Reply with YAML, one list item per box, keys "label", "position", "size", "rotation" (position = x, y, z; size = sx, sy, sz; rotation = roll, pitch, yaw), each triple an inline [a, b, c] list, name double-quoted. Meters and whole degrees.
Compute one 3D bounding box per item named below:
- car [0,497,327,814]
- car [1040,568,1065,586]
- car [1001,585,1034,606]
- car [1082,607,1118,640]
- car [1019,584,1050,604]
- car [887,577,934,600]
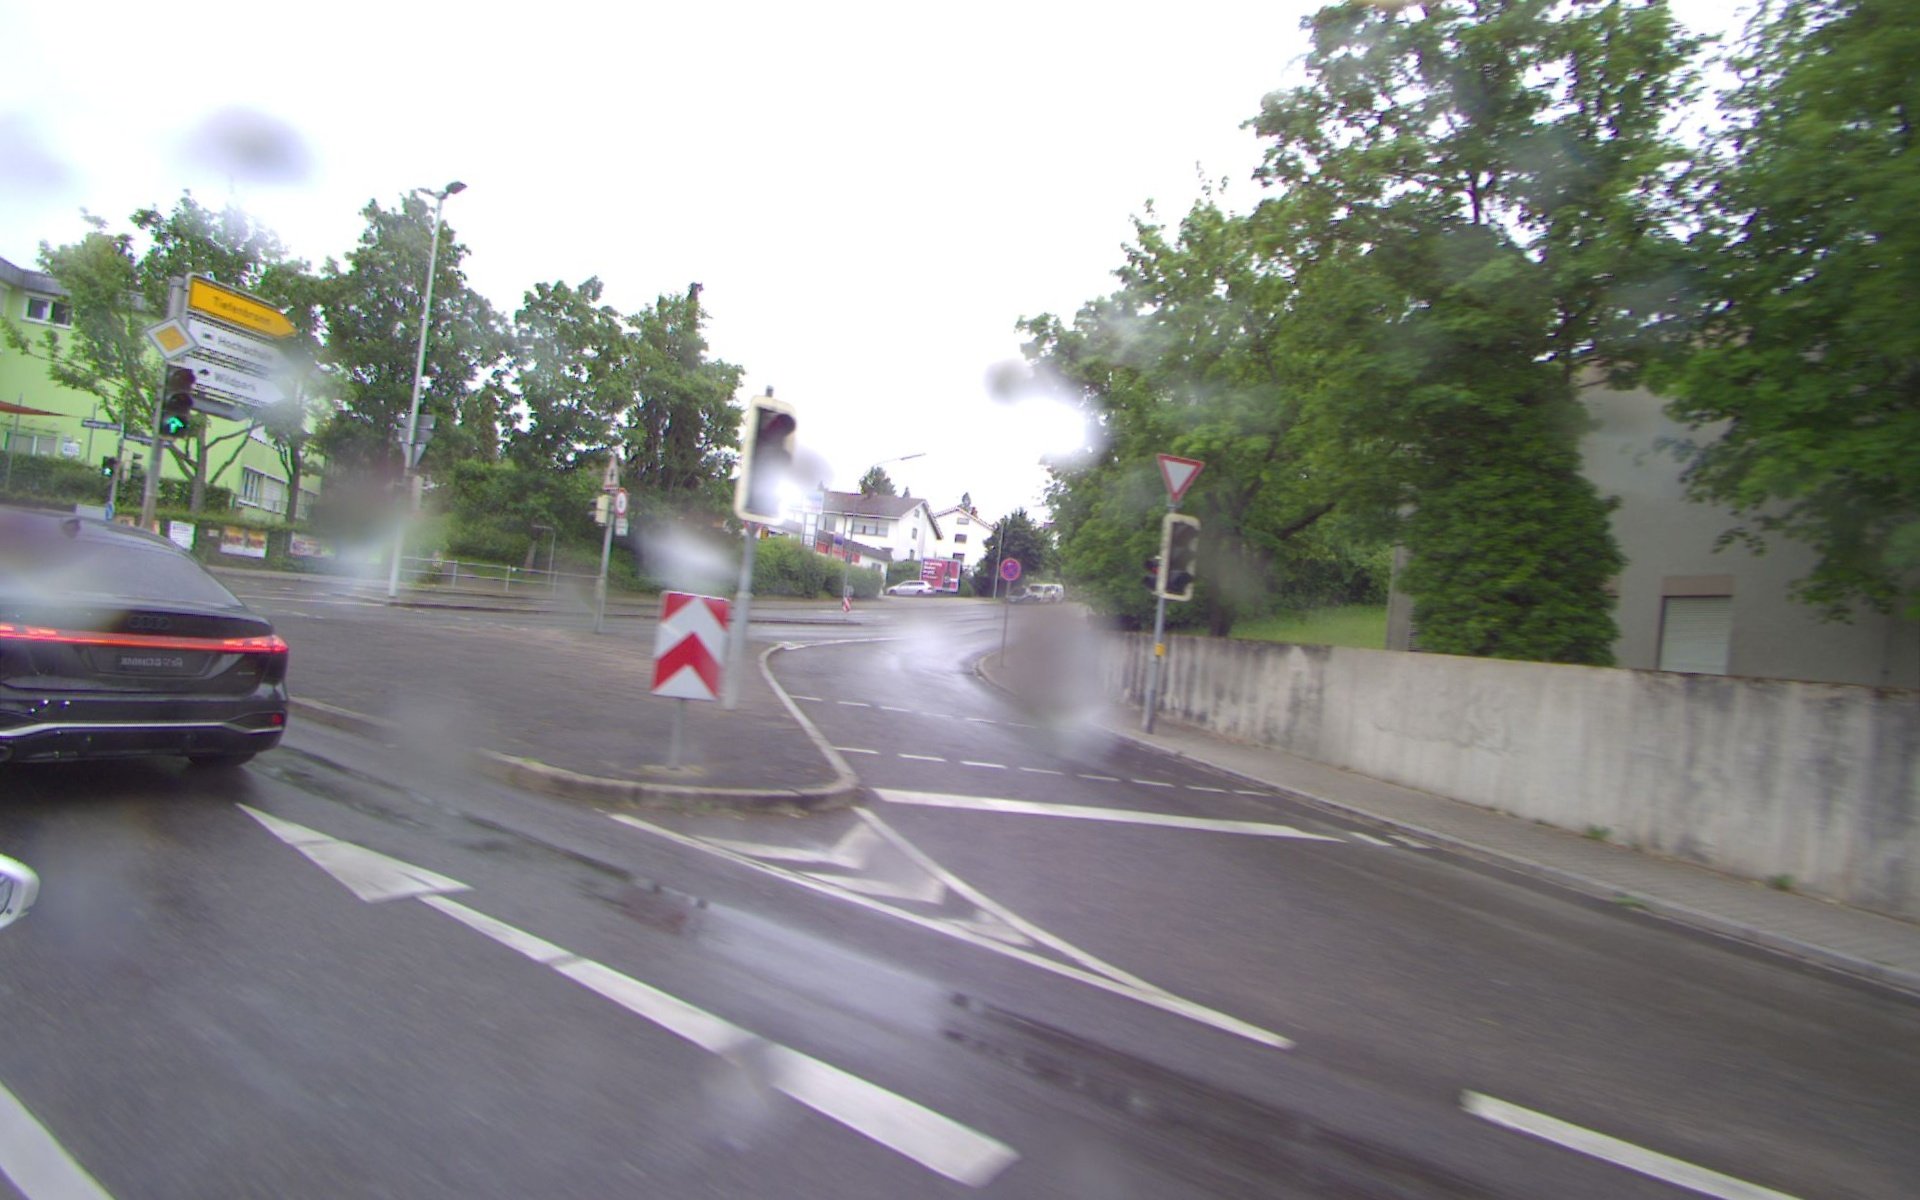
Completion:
- label: "car"
  position: [-6.040, 0.082, 6.166]
  size: [4.432, 1.444, 1.710]
  rotation: [7, -1, 31]
- label: "car"
  position: [11.135, -2.798, 121.217]
  size: [1.963, 1.748, 3.995]
  rotation: [12, 5, 17]
- label: "car"
  position: [5.377, -0.449, 93.489]
  size: [1.963, 1.528, 3.995]
  rotation: [12, 5, 17]
- label: "car"
  position: [10.255, 1.664, 73.458]
  size: [1.963, 1.685, 3.992]
  rotation: [12, 6, 12]
- label: "car"
  position: [7.350, -0.612, 98.638]
  size: [1.963, 1.497, 3.995]
  rotation: [12, 5, 17]
- label: "car"
  position: [-4.319, -1.020, 88.256]
  size: [3.649, 1.839, 1.841]
  rotation: [2, 0, 13]
